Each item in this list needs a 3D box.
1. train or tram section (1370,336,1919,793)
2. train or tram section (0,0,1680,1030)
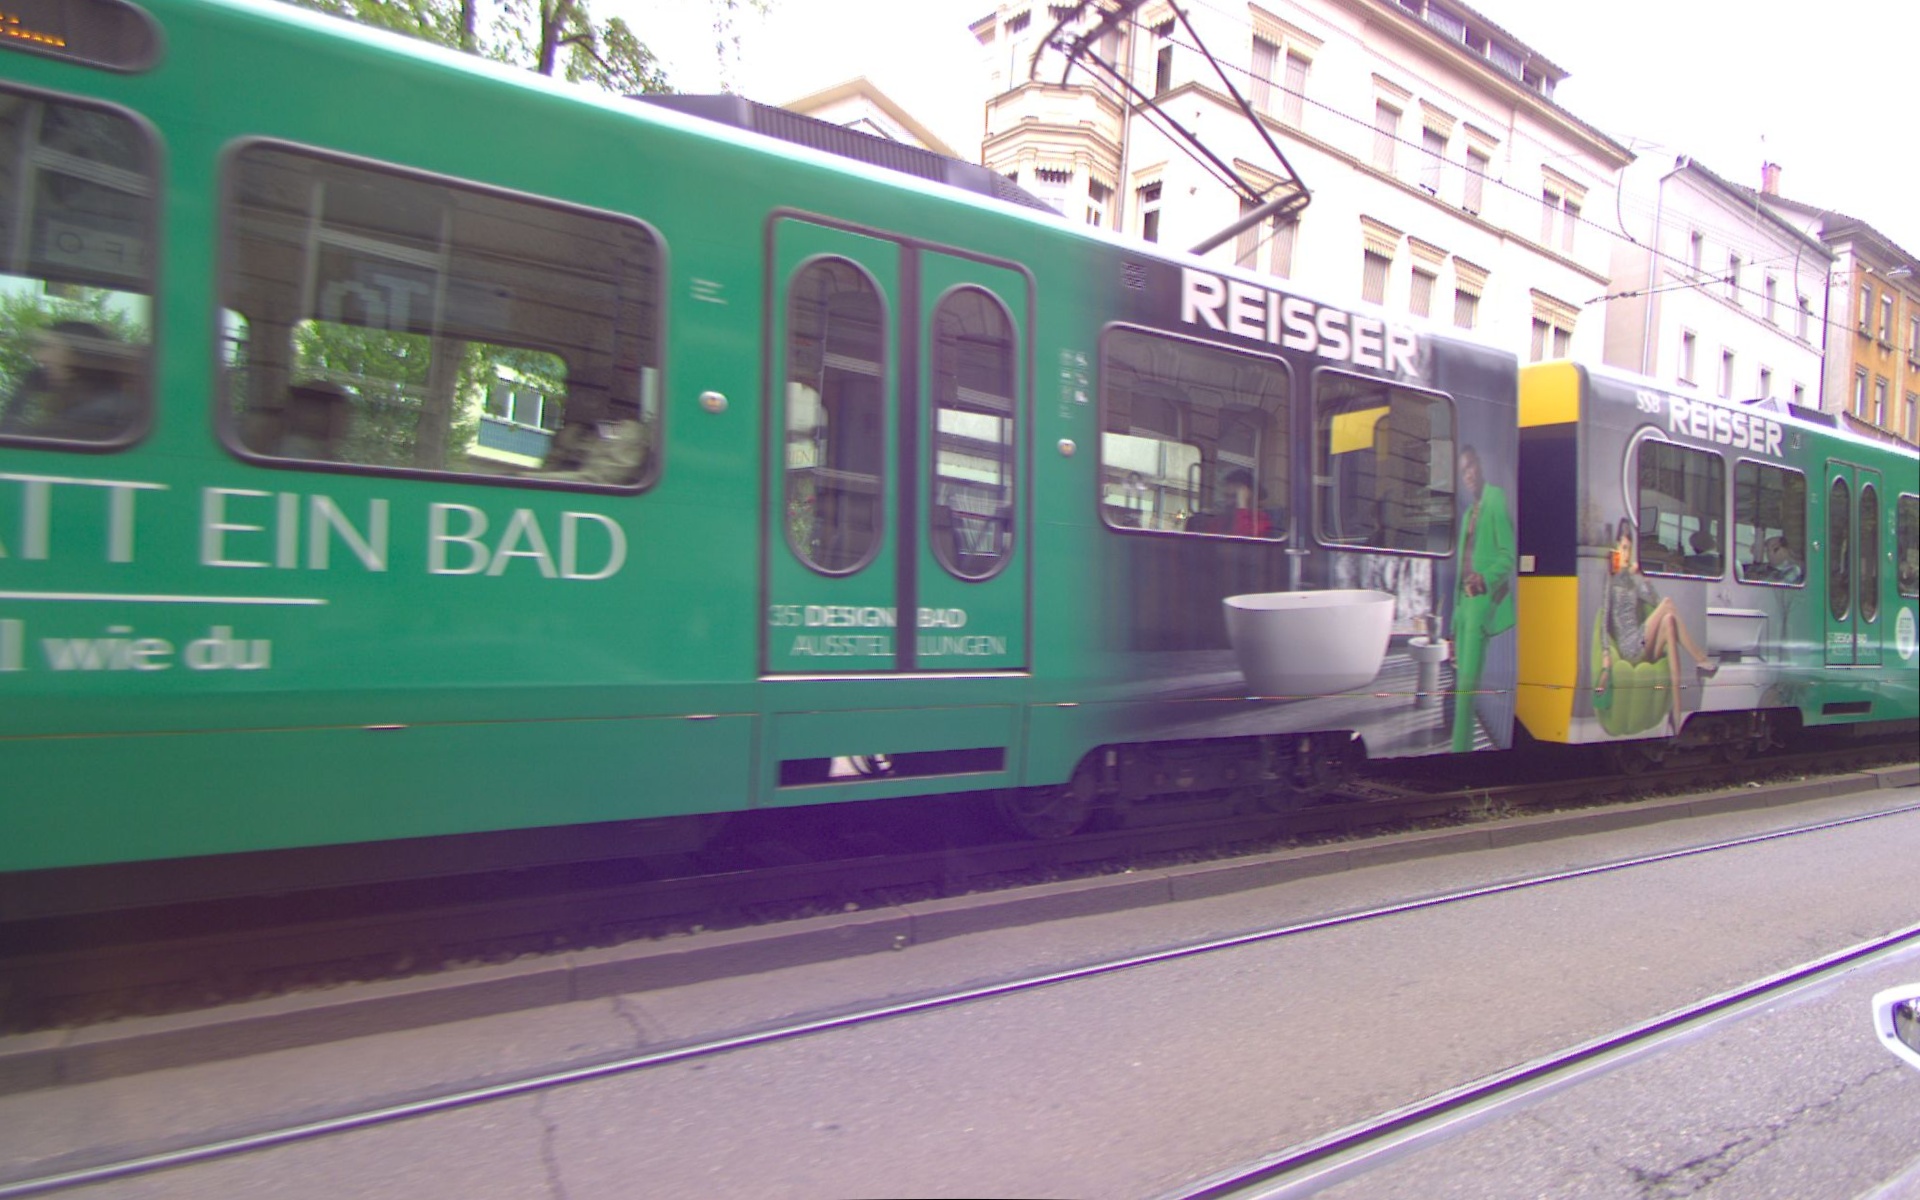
[{"bbox_3d":[13.169,-0.082,14.280,18.539,3.776,2.862,2,1,-31],"label":"train or tram section"},{"bbox_3d":[-2.878,-0.609,4.665,18.540,3.776,2.861,2,1,-31],"label":"train or tram section"}]
